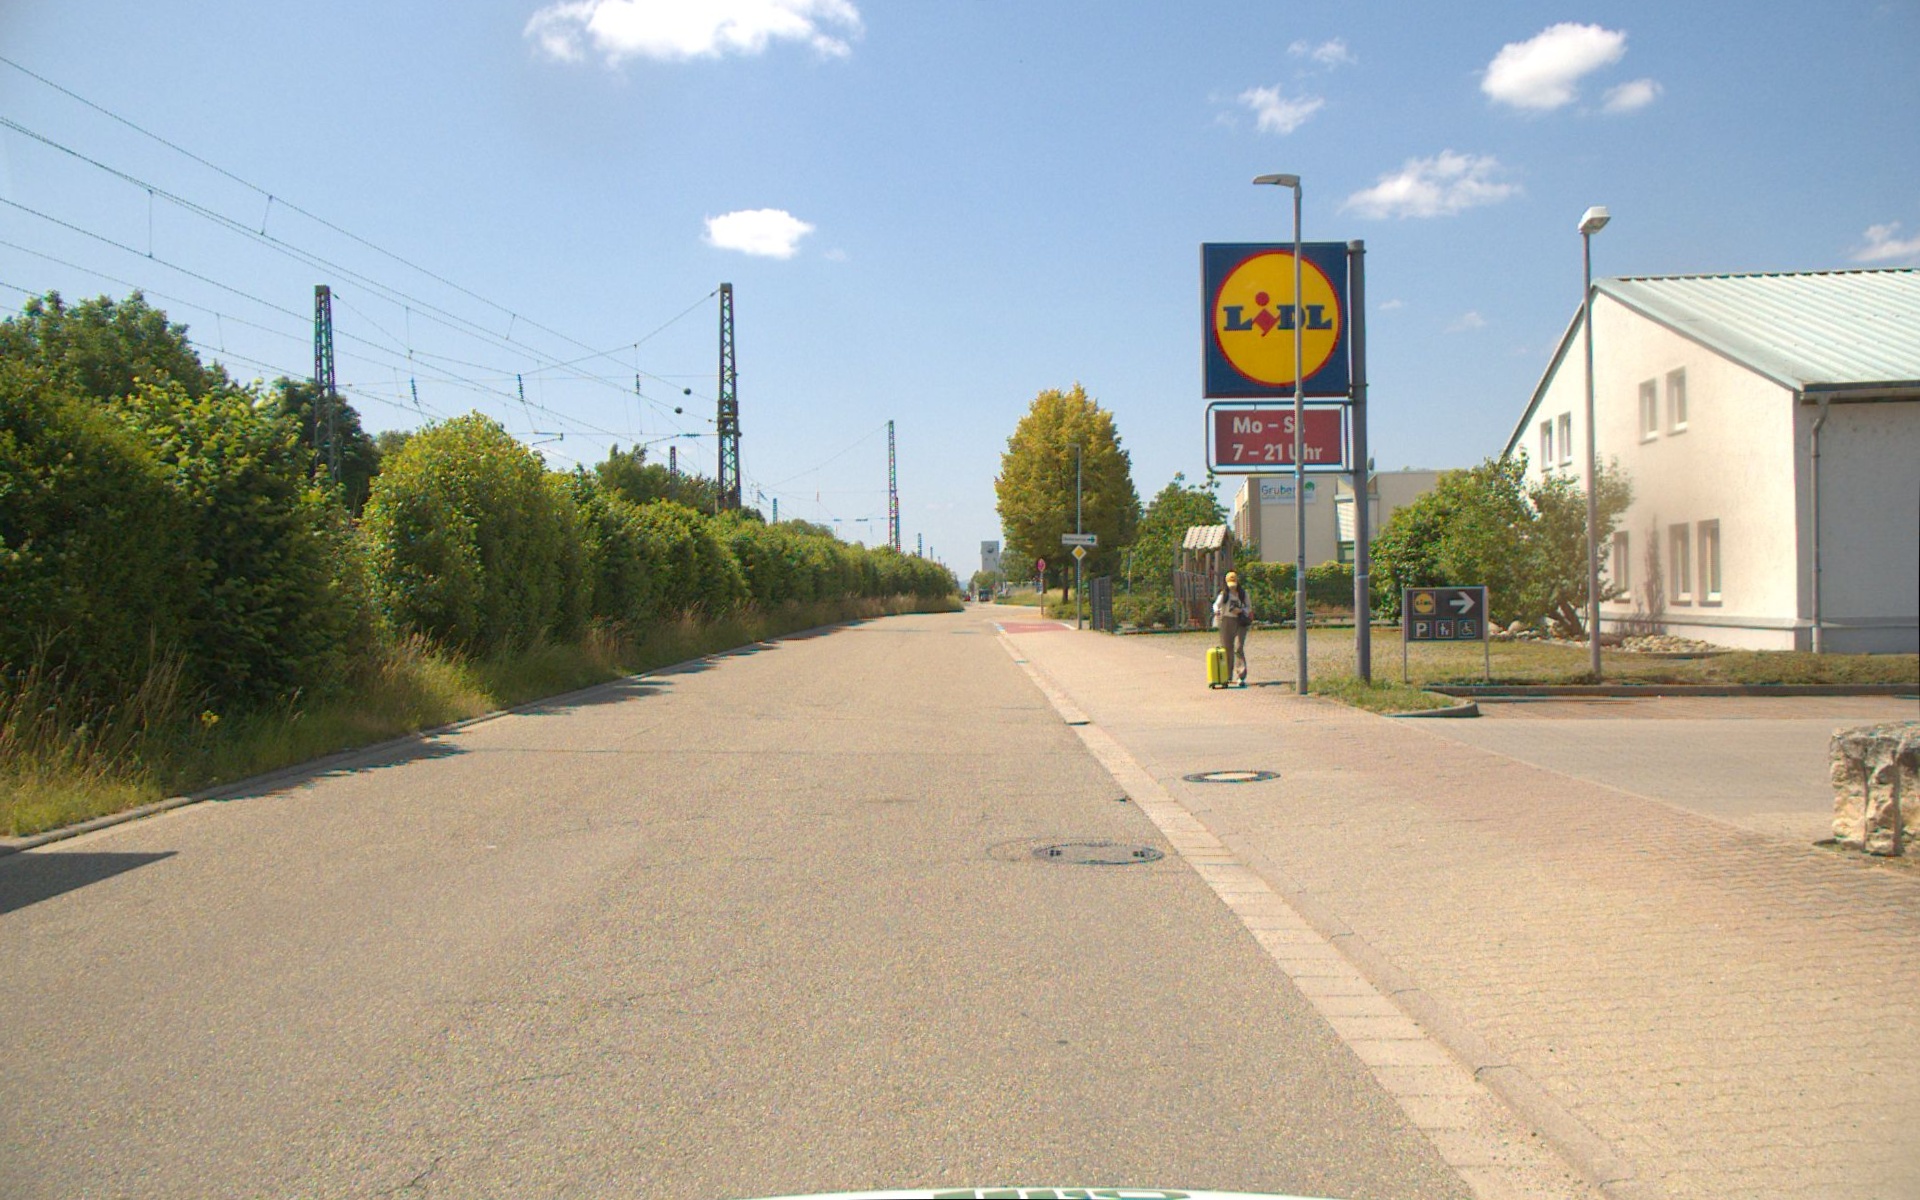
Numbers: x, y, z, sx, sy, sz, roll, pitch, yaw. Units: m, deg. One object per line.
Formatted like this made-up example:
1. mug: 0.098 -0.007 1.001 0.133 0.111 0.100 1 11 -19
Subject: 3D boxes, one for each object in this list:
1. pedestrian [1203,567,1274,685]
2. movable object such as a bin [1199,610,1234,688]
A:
1. pedestrian: 3.958 0.353 23.593 0.746 1.630 1.209 -1 0 -3
2. movable object such as a bin: 3.577 0.679 23.075 0.367 1.047 0.498 -1 1 -4
